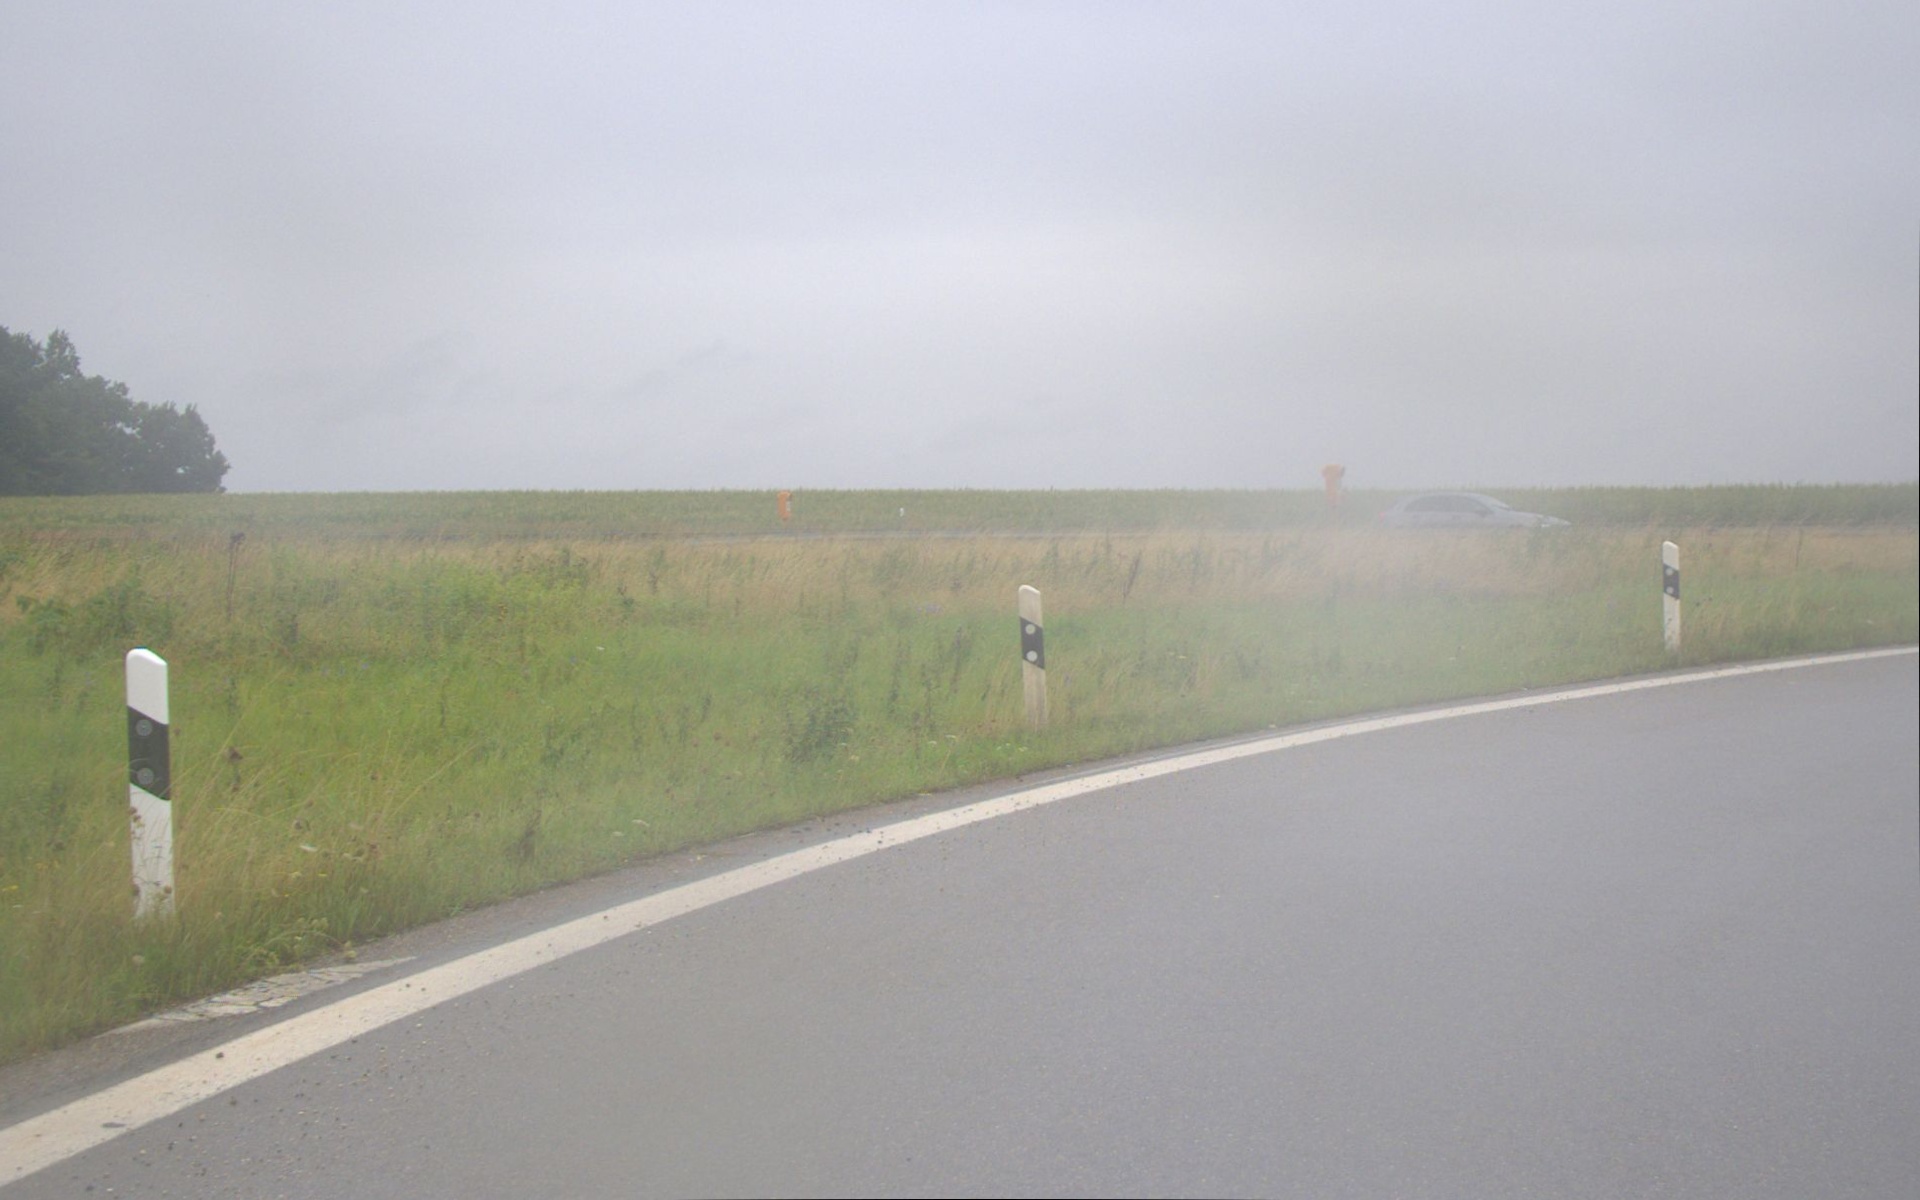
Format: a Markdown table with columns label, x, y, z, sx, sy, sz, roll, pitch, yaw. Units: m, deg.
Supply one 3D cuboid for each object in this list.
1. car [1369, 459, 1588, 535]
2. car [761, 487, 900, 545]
| label | x | y | z | sx | sy | sz | roll | pitch | yaw |
| --- | --- | --- | --- | --- | --- | --- | --- | --- | --- |
| car | 11.475 | -2.273 | 76.119 | 4.342 | 1.630 | 2.056 | 1 | 2 | 30 |
| car | -4.097 | -2.647 | 108.689 | 3.992 | 1.730 | 1.733 | 0 | 2 | 26 |
